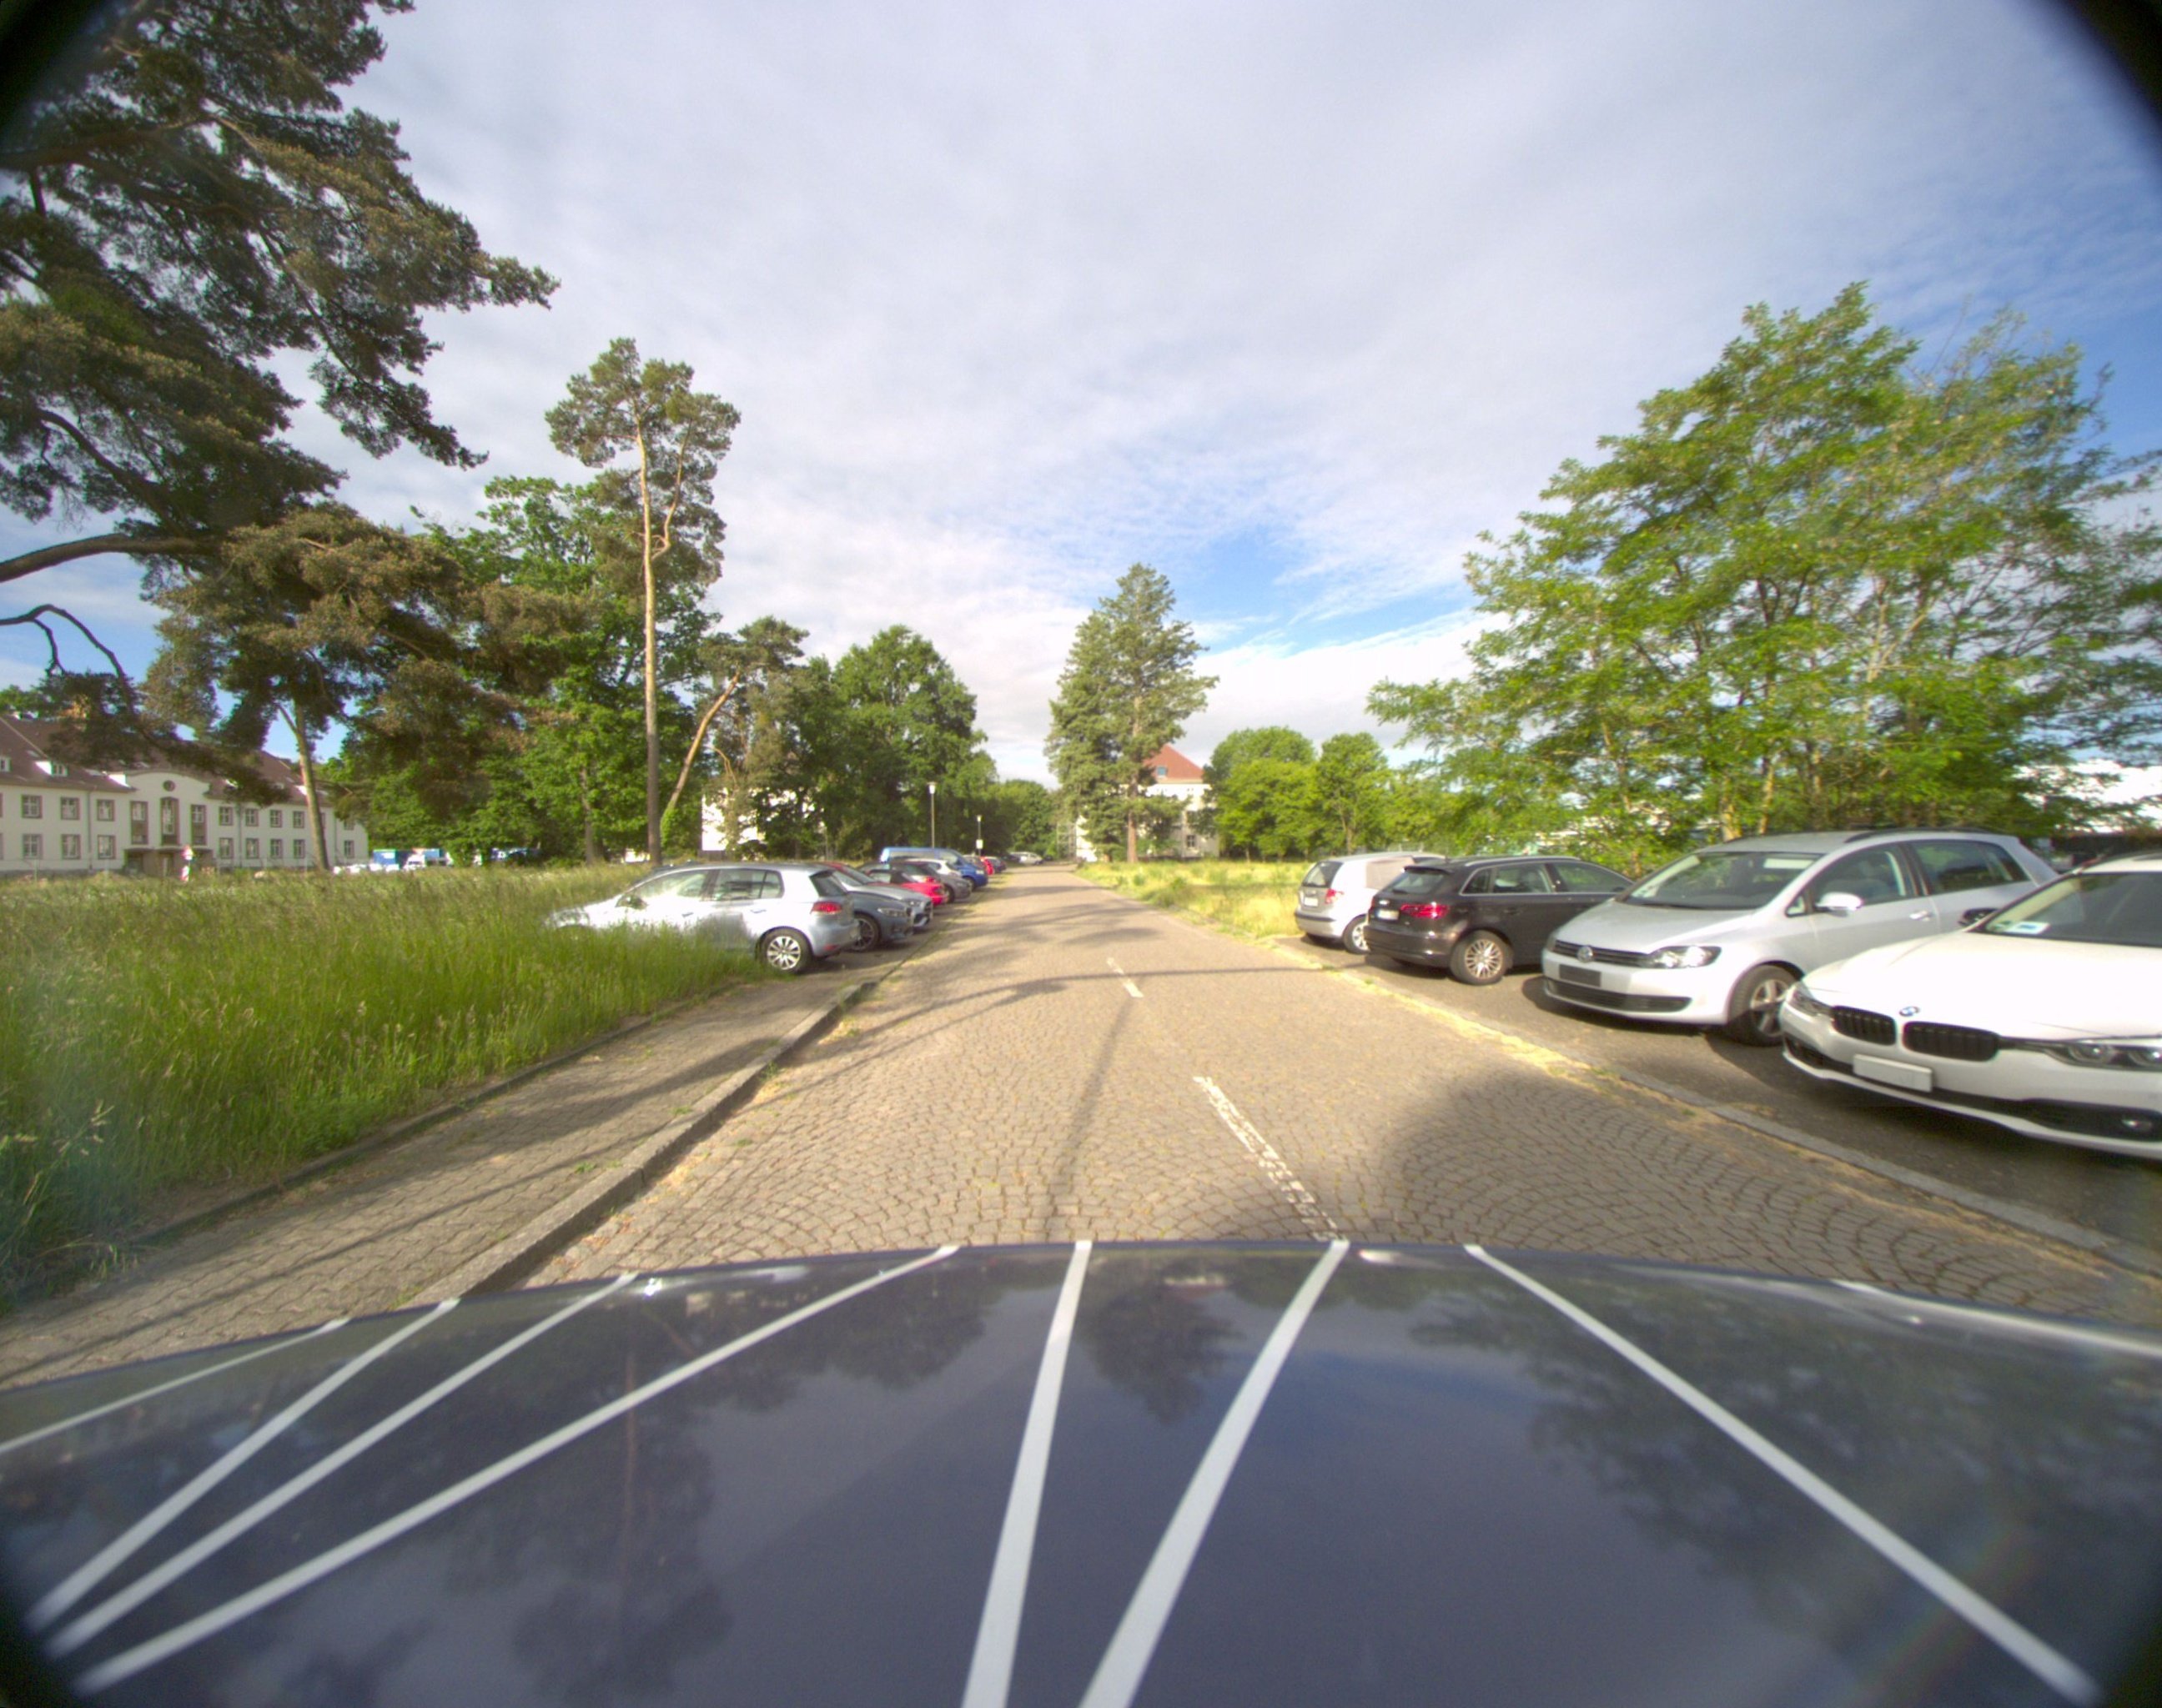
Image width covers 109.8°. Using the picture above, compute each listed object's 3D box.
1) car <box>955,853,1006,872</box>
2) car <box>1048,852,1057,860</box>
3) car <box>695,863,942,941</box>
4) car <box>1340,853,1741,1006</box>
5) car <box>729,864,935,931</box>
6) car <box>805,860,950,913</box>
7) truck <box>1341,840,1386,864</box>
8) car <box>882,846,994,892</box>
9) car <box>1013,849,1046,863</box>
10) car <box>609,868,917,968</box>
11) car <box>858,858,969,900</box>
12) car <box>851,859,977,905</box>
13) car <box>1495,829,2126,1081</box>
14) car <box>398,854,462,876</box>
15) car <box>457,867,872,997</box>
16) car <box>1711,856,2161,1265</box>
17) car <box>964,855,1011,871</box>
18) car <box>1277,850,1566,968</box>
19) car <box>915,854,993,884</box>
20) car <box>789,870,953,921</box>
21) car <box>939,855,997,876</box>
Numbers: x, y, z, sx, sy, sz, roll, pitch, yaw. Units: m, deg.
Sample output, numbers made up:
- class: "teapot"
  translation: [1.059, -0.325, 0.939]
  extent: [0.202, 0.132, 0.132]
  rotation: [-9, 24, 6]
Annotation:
- class: "car"
  translation: [-8.374, 0.708, 63.526]
  extent: [4.137, 1.560, 1.745]
  rotation: [0, 1, -4]
- class: "car"
  translation: [-6.968, 0.486, 183.834]
  extent: [1.999, 1.762, 4.107]
  rotation: [-1, 1, -4]
- class: "car"
  translation: [-5.278, 0.948, 15.810]
  extent: [4.520, 1.465, 1.848]
  rotation: [0, 1, -4]
- class: "car"
  translation: [5.467, 0.822, 9.364]
  extent: [3.840, 1.421, 1.857]
  rotation: [-4, 1, -5]
- class: "car"
  translation: [-5.774, 0.989, 18.052]
  extent: [4.353, 1.465, 1.739]
  rotation: [0, 1, -4]
- class: "car"
  translation: [-6.070, 0.960, 23.058]
  extent: [3.962, 1.487, 1.771]
  rotation: [0, 1, -4]
- class: "truck"
  translation: [32.340, -0.225, 87.174]
  extent: [2.418, 2.572, 6.957]
  rotation: [-1, 0, -1]
- class: "car"
  translation: [-6.339, 0.655, 34.189]
  extent: [4.747, 1.917, 1.991]
  rotation: [1, 1, -5]
- class: "car"
  translation: [-7.974, 0.251, 117.309]
  extent: [5.080, 2.029, 1.999]
  rotation: [-1, 0, -4]
- class: "car"
  translation: [-5.195, 1.014, 13.033]
  extent: [4.521, 1.465, 1.893]
  rotation: [0, 1, -8]
- class: "car"
  translation: [-6.274, 0.919, 28.835]
  extent: [3.885, 1.521, 1.807]
  rotation: [0, 1, -4]
- class: "car"
  translation: [-5.631, 0.933, 26.017]
  extent: [3.962, 1.459, 1.830]
  rotation: [0, 1, -4]
- class: "car"
  translation: [6.201, 0.711, 6.713]
  extent: [4.134, 1.591, 1.857]
  rotation: [-4, 1, -8]
- class: "car"
  translation: [-73.565, 1.184, 86.037]
  extent: [2.167, 2.286, 5.960]
  rotation: [-1, 0, -1]
- class: "car"
  translation: [-5.364, 0.969, 10.390]
  extent: [4.558, 1.497, 1.931]
  rotation: [0, 1, -6]
- class: "car"
  translation: [6.470, 0.795, 4.186]
  extent: [4.601, 1.447, 1.902]
  rotation: [-4, 0, -6]
- class: "car"
  translation: [-8.395, 0.793, 68.233]
  extent: [4.037, 1.442, 1.782]
  rotation: [0, 1, -2]
- class: "car"
  translation: [5.244, 0.782, 12.008]
  extent: [3.694, 1.465, 1.848]
  rotation: [-4, 1, -6]
- class: "car"
  translation: [-7.121, 0.830, 43.025]
  extent: [4.203, 1.580, 1.877]
  rotation: [0, 1, -5]
- class: "car"
  translation: [-5.545, 1.085, 20.452]
  extent: [3.962, 1.254, 1.725]
  rotation: [0, 1, -4]
- class: "car"
  translation: [-7.889, 0.797, 53.254]
  extent: [3.888, 1.464, 1.686]
  rotation: [0, 1, -5]
